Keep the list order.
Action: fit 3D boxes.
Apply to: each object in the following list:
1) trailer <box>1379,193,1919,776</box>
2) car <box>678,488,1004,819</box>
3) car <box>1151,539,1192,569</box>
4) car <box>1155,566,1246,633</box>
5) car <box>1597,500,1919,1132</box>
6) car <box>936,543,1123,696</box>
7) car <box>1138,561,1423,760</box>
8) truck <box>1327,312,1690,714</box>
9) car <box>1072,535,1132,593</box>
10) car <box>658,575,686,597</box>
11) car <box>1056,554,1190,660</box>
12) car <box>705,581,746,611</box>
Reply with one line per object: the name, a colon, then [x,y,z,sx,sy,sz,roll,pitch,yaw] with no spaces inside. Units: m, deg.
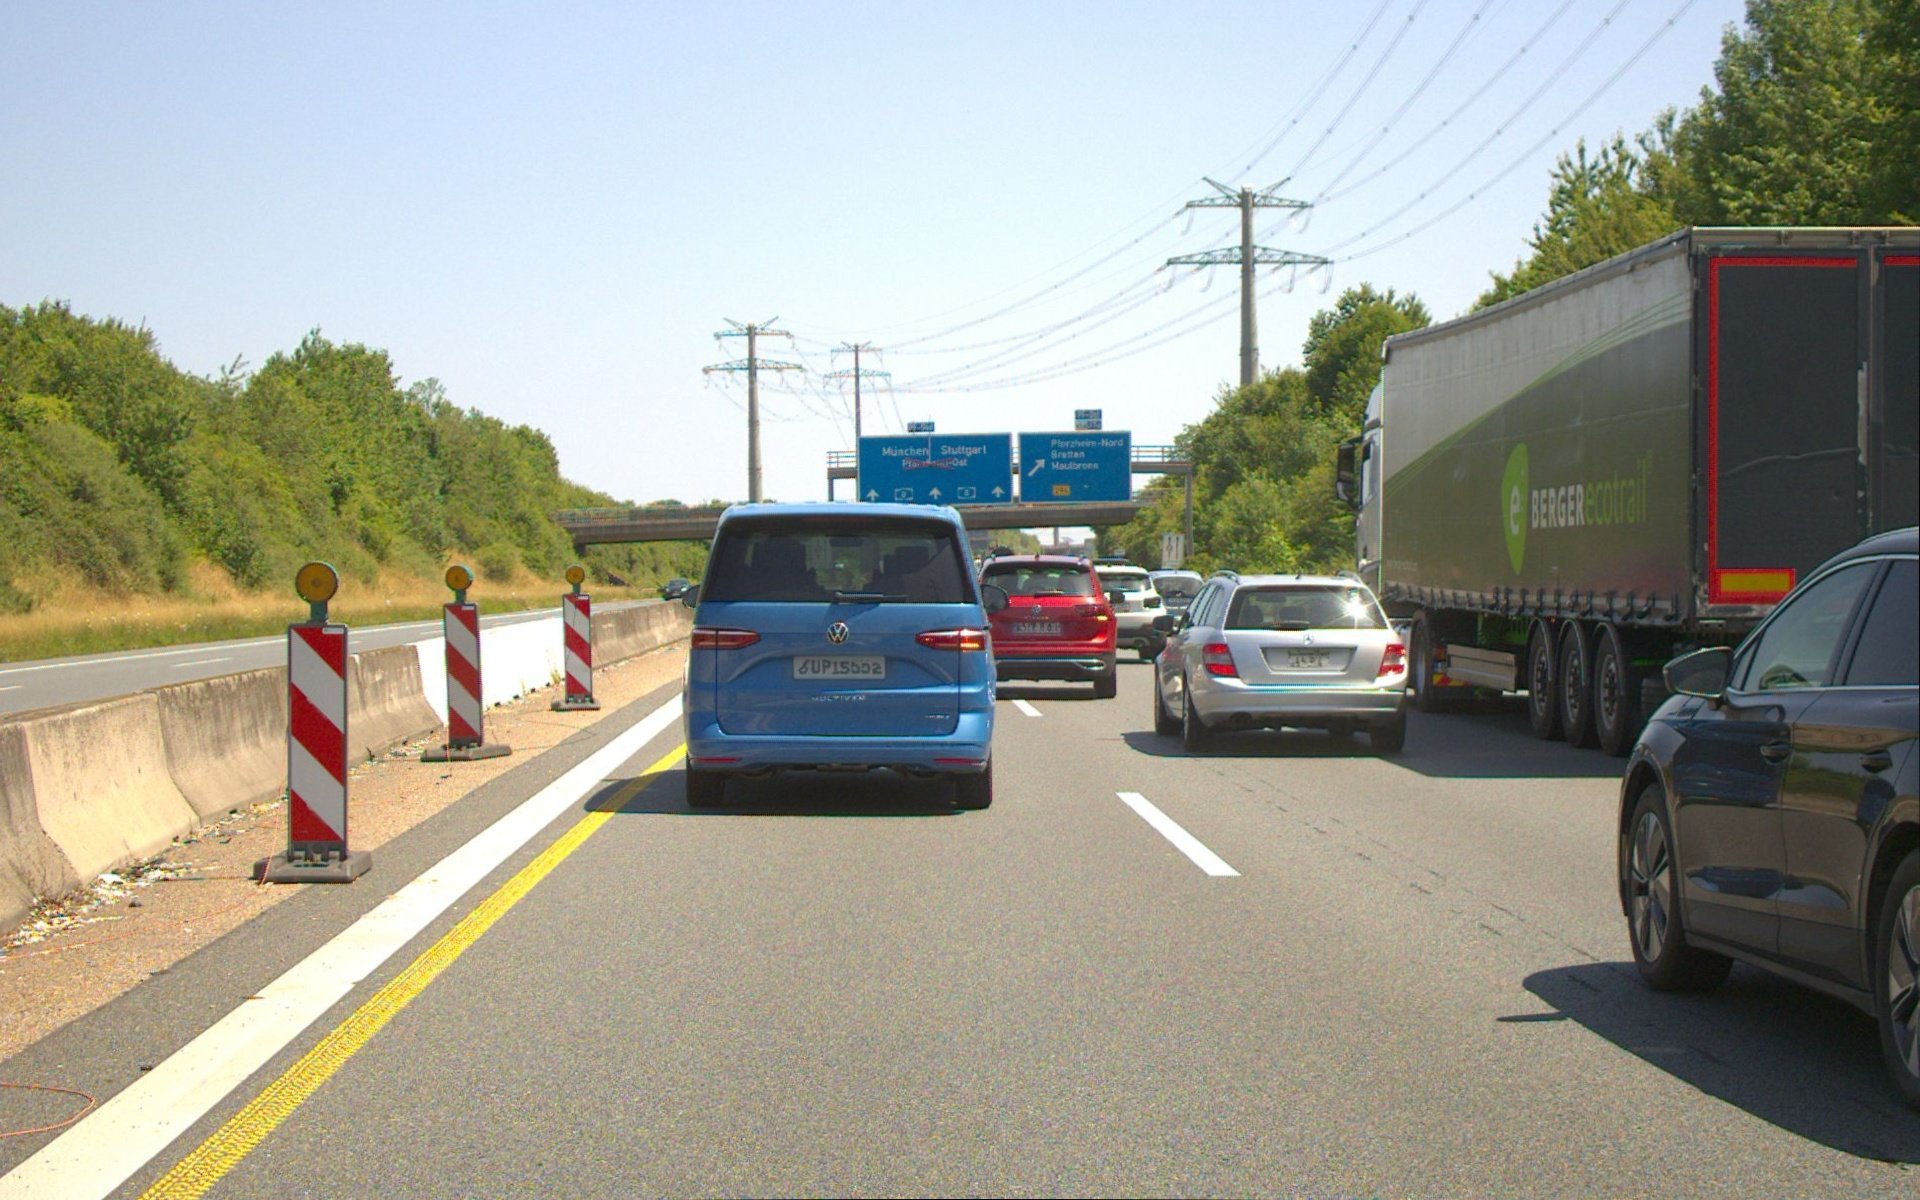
trailer: [6.195,-0.844,30.537,2.783,4.033,13.113,1,0,-2]
car: [-0.791,0.300,22.309,1.874,1.905,4.360,1,0,-2]
car: [12.070,-2.623,196.365,1.874,1.665,4.360,1,0,-2]
car: [5.469,-0.026,78.515,1.700,1.443,3.788,1,0,-2]
car: [3.299,0.565,10.419,1.700,1.649,4.430,1,0,-3]
car: [0.755,0.201,40.223,1.874,1.665,4.360,1,0,-2]
car: [2.592,0.452,28.733,1.770,1.512,4.360,1,0,-2]
truck: [5.888,-0.903,37.827,2.732,4.033,5.794,1,0,-3]
car: [5.066,-1.266,122.968,1.797,2.007,4.227,1,0,-2]
car: [-19.907,-0.984,237.640,1.708,1.459,3.850,-2,1,-2]
car: [2.563,0.093,55.055,1.797,1.588,4.227,1,0,-2]
car: [-12.008,-0.215,176.346,1.862,1.485,4.493,-1,1,-1]
